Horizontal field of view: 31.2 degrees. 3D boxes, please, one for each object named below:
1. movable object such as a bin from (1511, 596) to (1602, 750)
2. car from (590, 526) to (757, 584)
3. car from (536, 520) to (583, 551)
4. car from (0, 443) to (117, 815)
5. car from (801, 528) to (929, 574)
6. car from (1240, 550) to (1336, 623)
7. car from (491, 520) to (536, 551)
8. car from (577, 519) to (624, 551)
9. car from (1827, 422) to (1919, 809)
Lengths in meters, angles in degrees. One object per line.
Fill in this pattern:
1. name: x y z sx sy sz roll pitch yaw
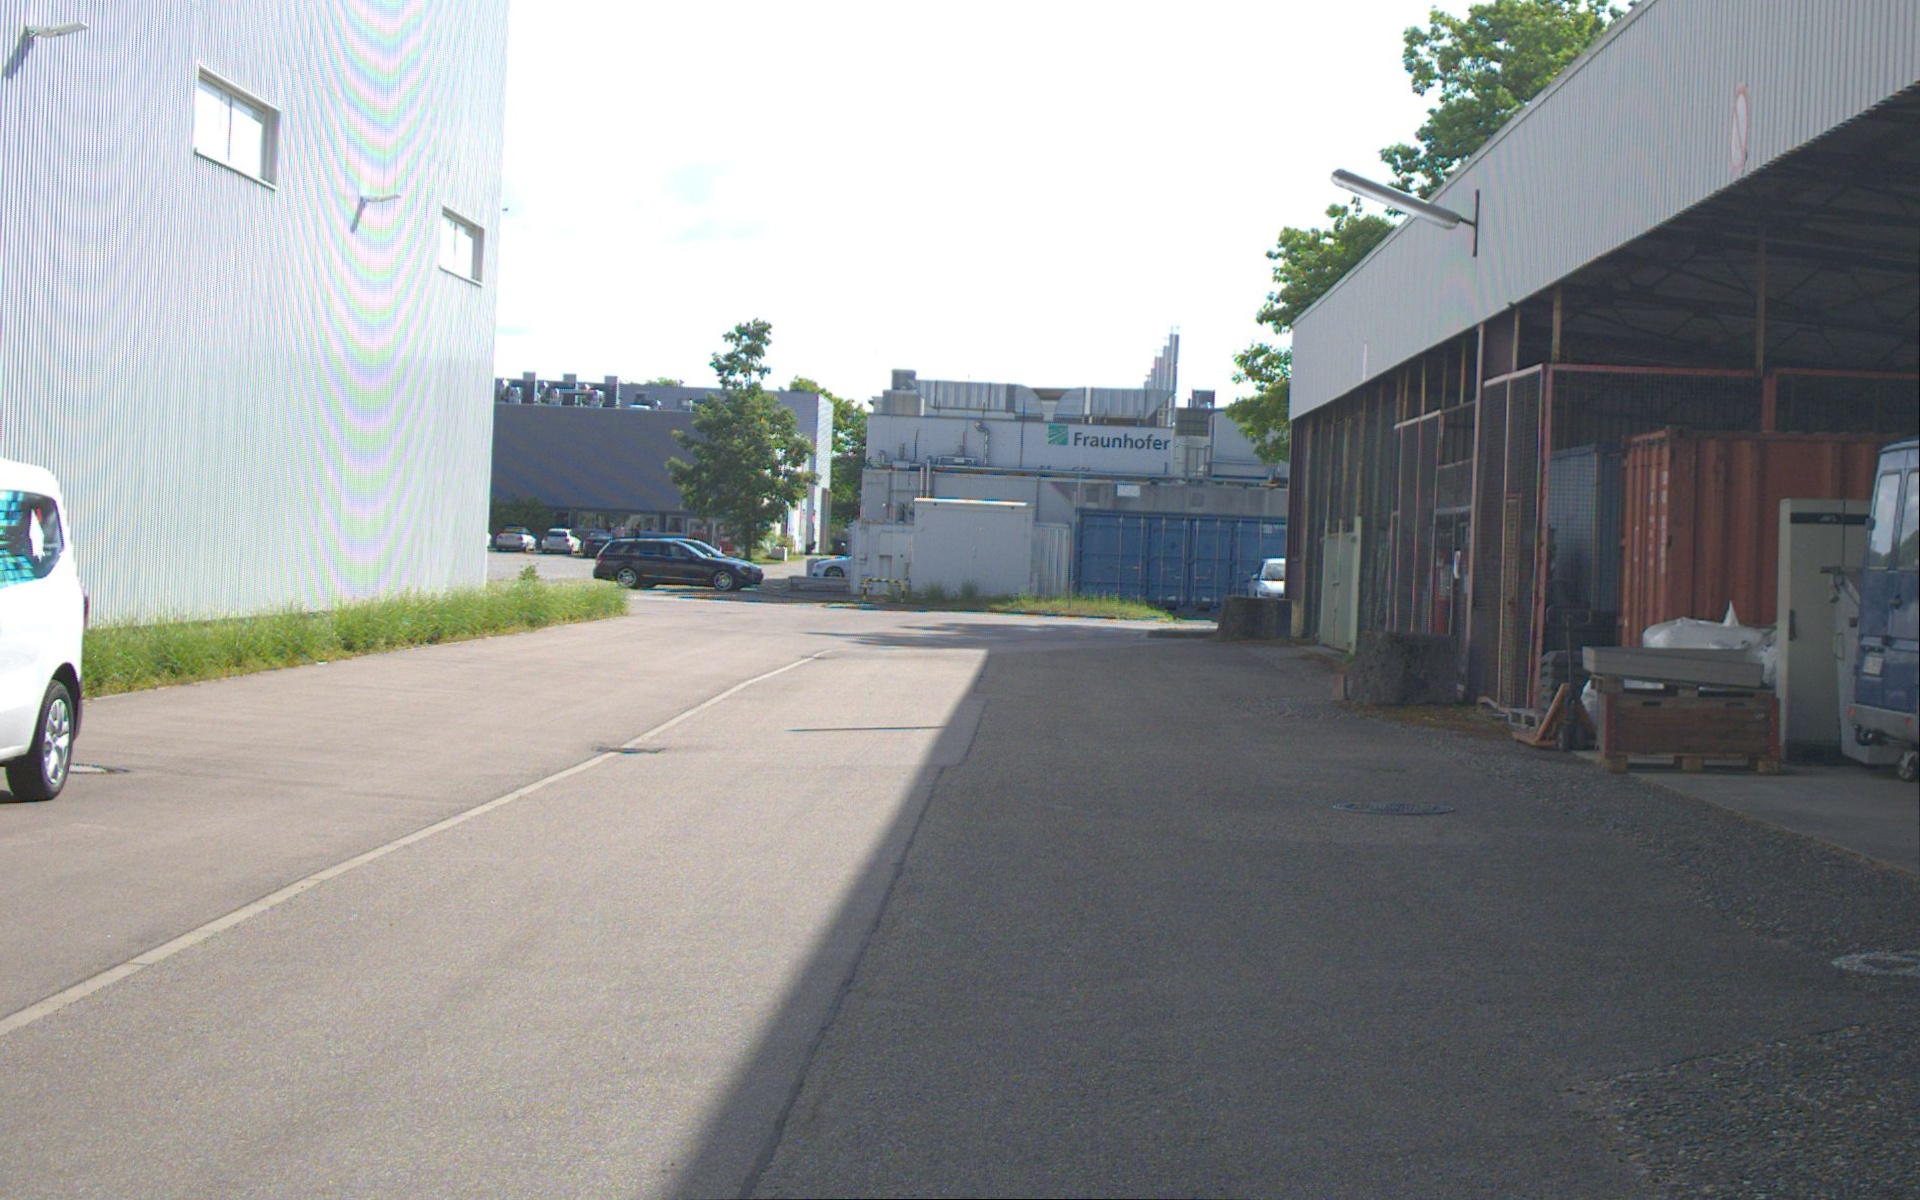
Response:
1. movable object such as a bin: 4.726 0.566 27.289 0.582 1.160 1.238 2 1 5
2. car: -8.210 -1.298 98.901 4.526 1.503 1.909 2 1 3
3. car: -22.864 -3.673 196.428 2.193 1.730 4.000 1 1 1
4. car: -5.647 0.086 16.636 1.890 1.839 4.358 4 1 1
5. car: -3.484 -1.817 126.382 4.526 1.503 1.909 2 1 2
6. car: 8.155 -0.353 85.724 1.993 1.580 4.173 2 2 1
7. car: -25.457 -3.675 196.151 1.993 1.730 4.000 1 1 1
8. car: -20.342 -3.653 194.651 2.193 1.730 4.000 1 1 1
9. car: 8.194 0.164 21.511 4.979 2.317 2.000 2 1 2
